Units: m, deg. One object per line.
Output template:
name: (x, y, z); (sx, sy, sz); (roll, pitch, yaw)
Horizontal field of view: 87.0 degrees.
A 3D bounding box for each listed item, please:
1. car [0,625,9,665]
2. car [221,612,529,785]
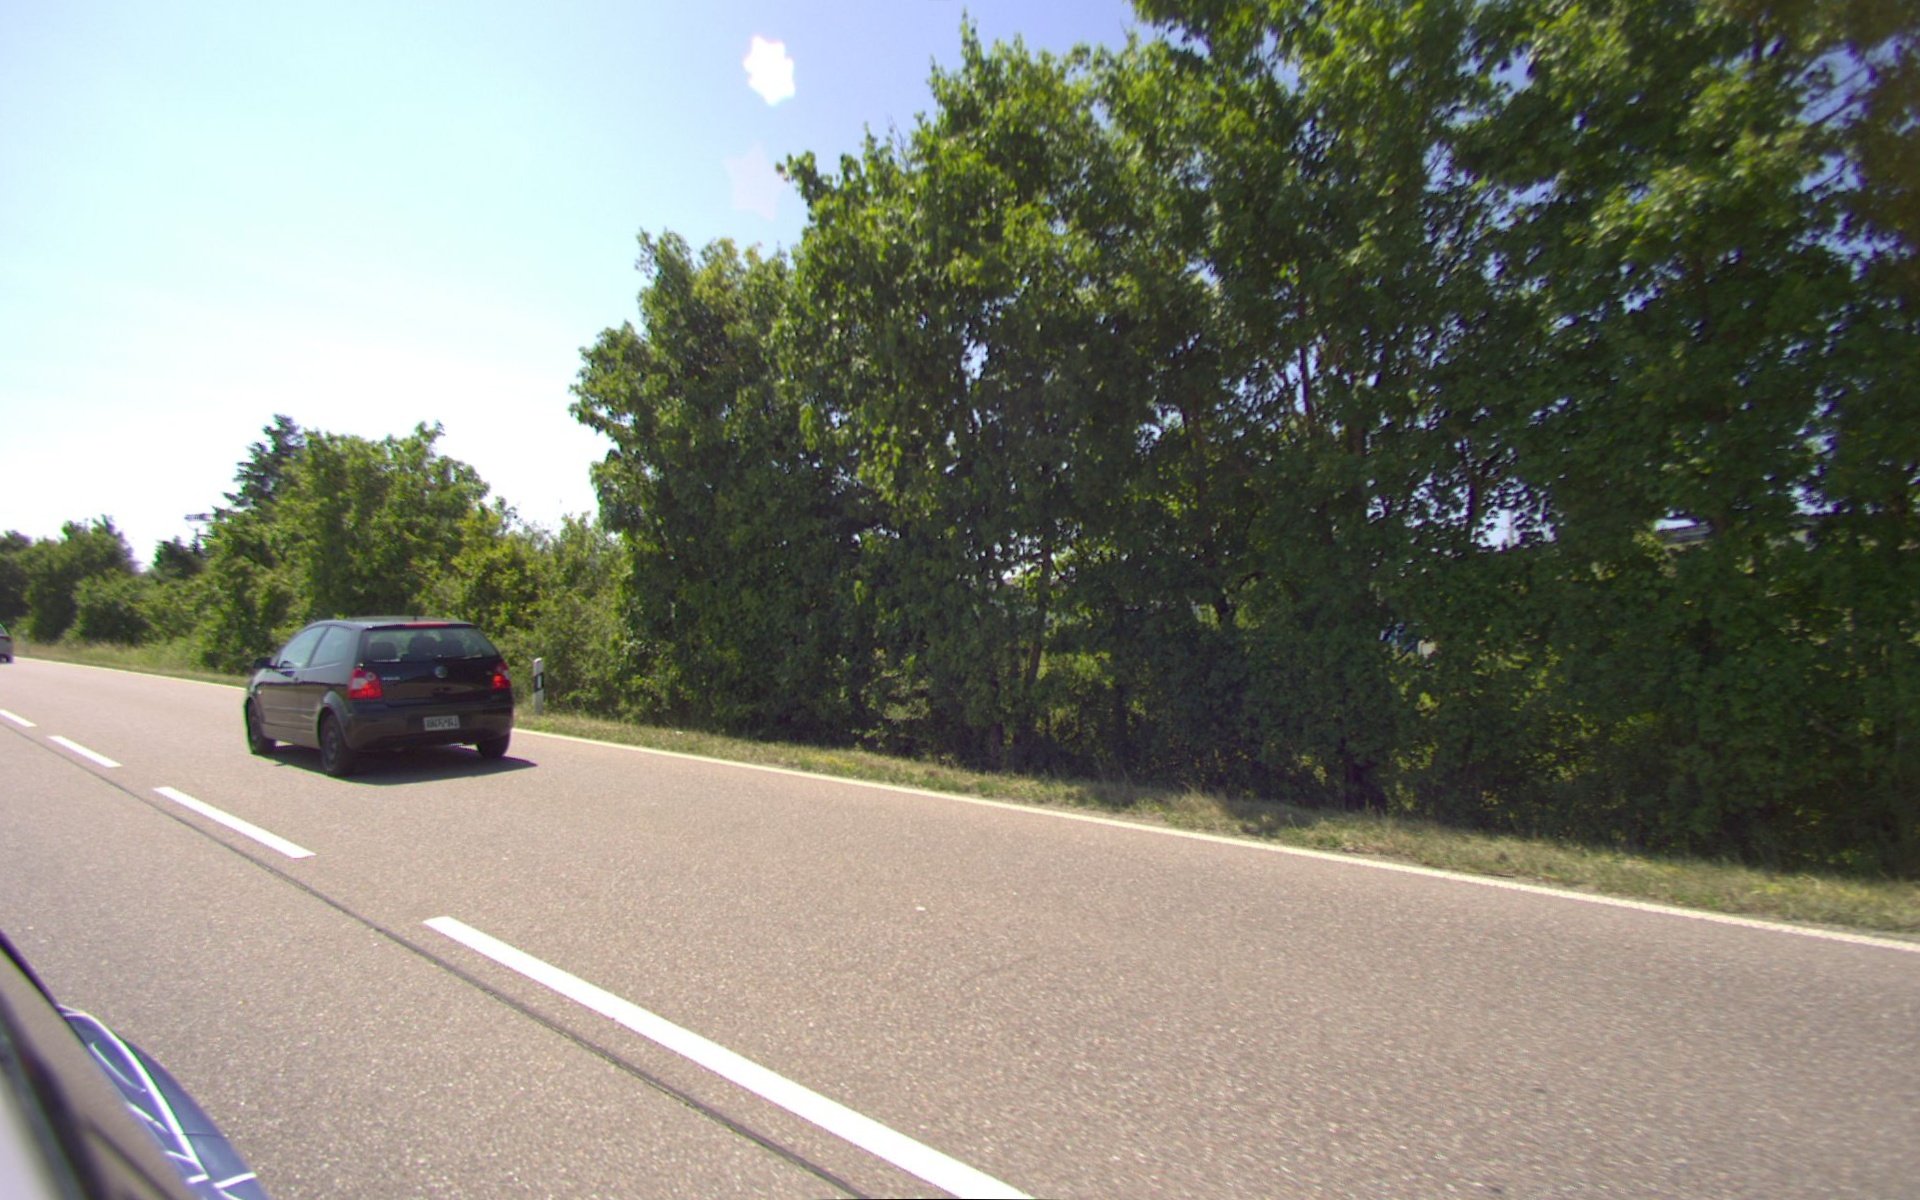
car: (-35.288, 1.608, 36.036); (3.817, 1.392, 1.689); (-1, -1, 41)
car: (-6.183, 0.881, 10.498); (3.998, 1.453, 1.581); (-2, -1, 41)
